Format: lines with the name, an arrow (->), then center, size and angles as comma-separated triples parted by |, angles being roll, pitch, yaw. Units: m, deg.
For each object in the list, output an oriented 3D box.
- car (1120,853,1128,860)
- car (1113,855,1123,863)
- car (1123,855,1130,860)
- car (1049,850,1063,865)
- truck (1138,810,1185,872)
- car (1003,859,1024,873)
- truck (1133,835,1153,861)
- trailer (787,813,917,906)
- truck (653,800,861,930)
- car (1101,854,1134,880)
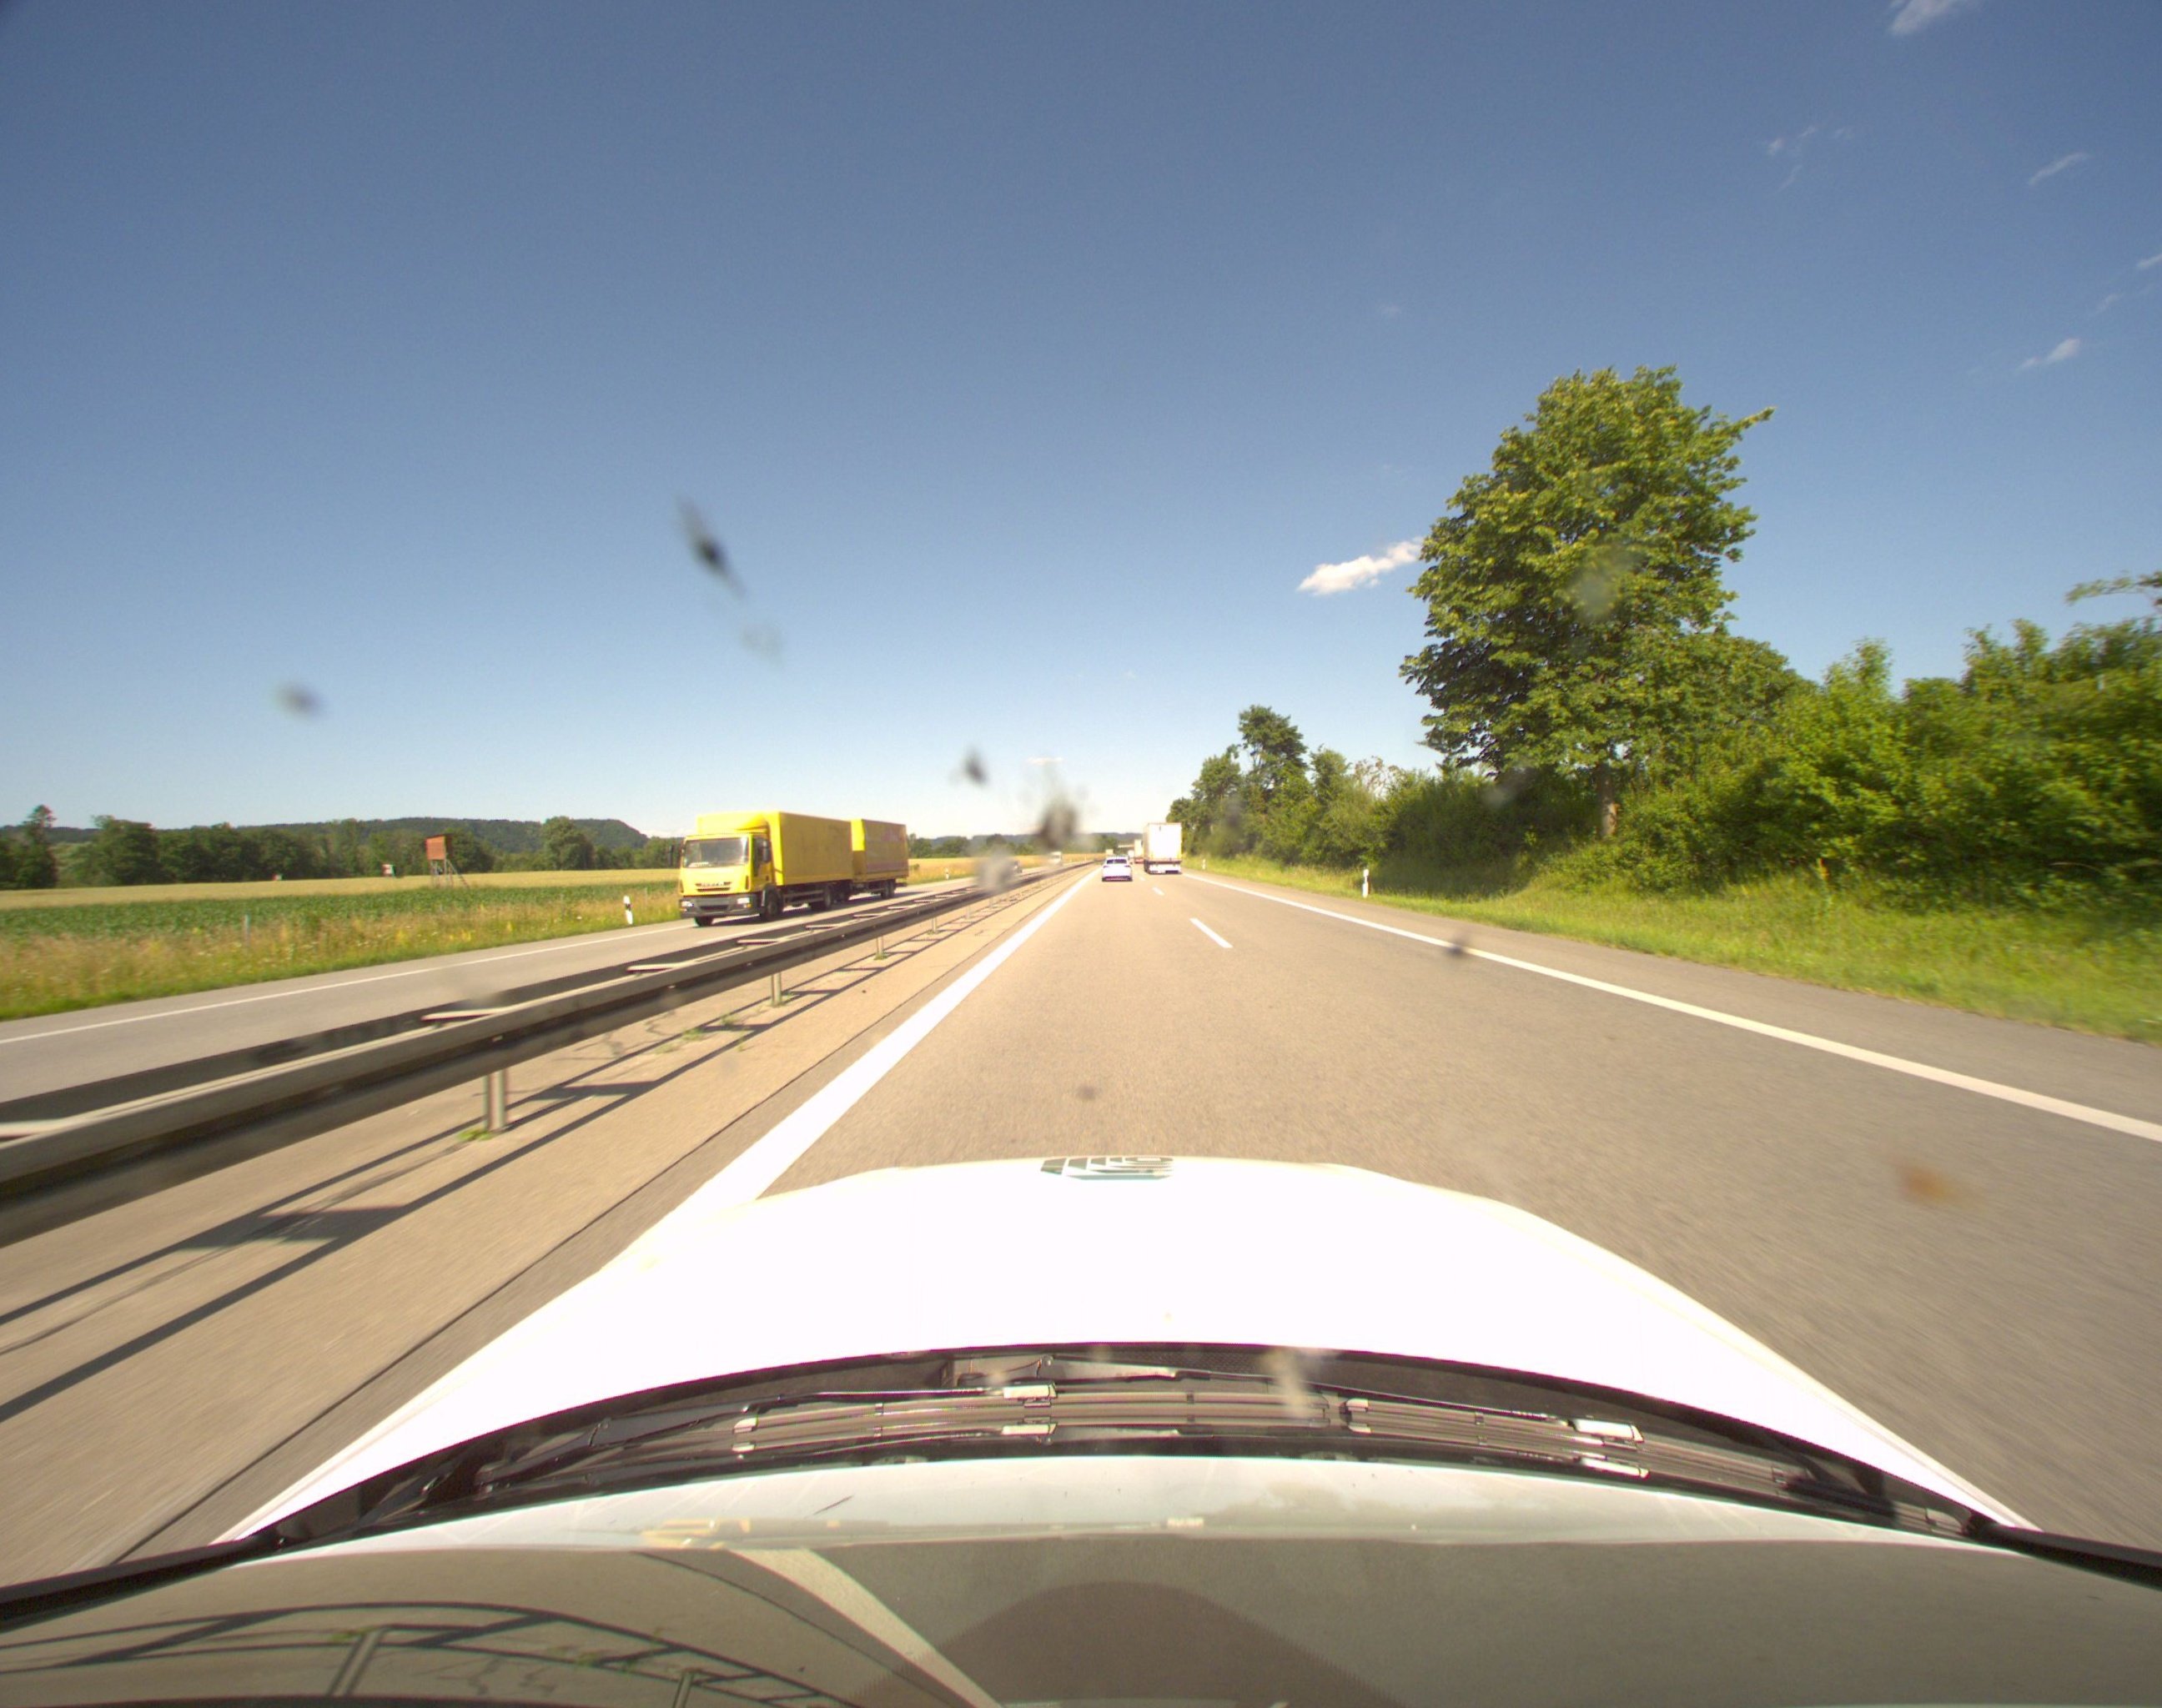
car -> 10.242, 0.596, 195.980 | 1.765, 1.421, 4.365 | -1, 0, 1
car -> 6.725, 0.979, 149.615 | 1.764, 1.421, 4.366 | -1, 0, 2
car -> 12.406, 0.919, 220.277 | 1.763, 1.421, 4.369 | -1, 0, 4
car -> -4.257, 0.613, 139.947 | 1.918, 2.476, 5.188 | -2, 0, 2
truck -> 6.451, -0.971, 66.498 | 3.140, 4.612, 8.910 | -2, 0, 2
car -> -7.507, 1.320, 91.482 | 1.828, 1.376, 4.002 | -2, 0, 2
truck -> 10.355, -0.971, 137.083 | 3.001, 4.115, 8.912 | -2, 0, 3
trailer -> -9.920, 0.215, 36.515 | 2.725, 3.460, 9.236 | -4, 0, 2
truck -> -10.253, 0.316, 27.254 | 2.725, 3.383, 9.236 | -5, 0, 2
car -> 2.158, 0.750, 49.058 | 1.833, 1.421, 5.256 | 0, 0, 1
